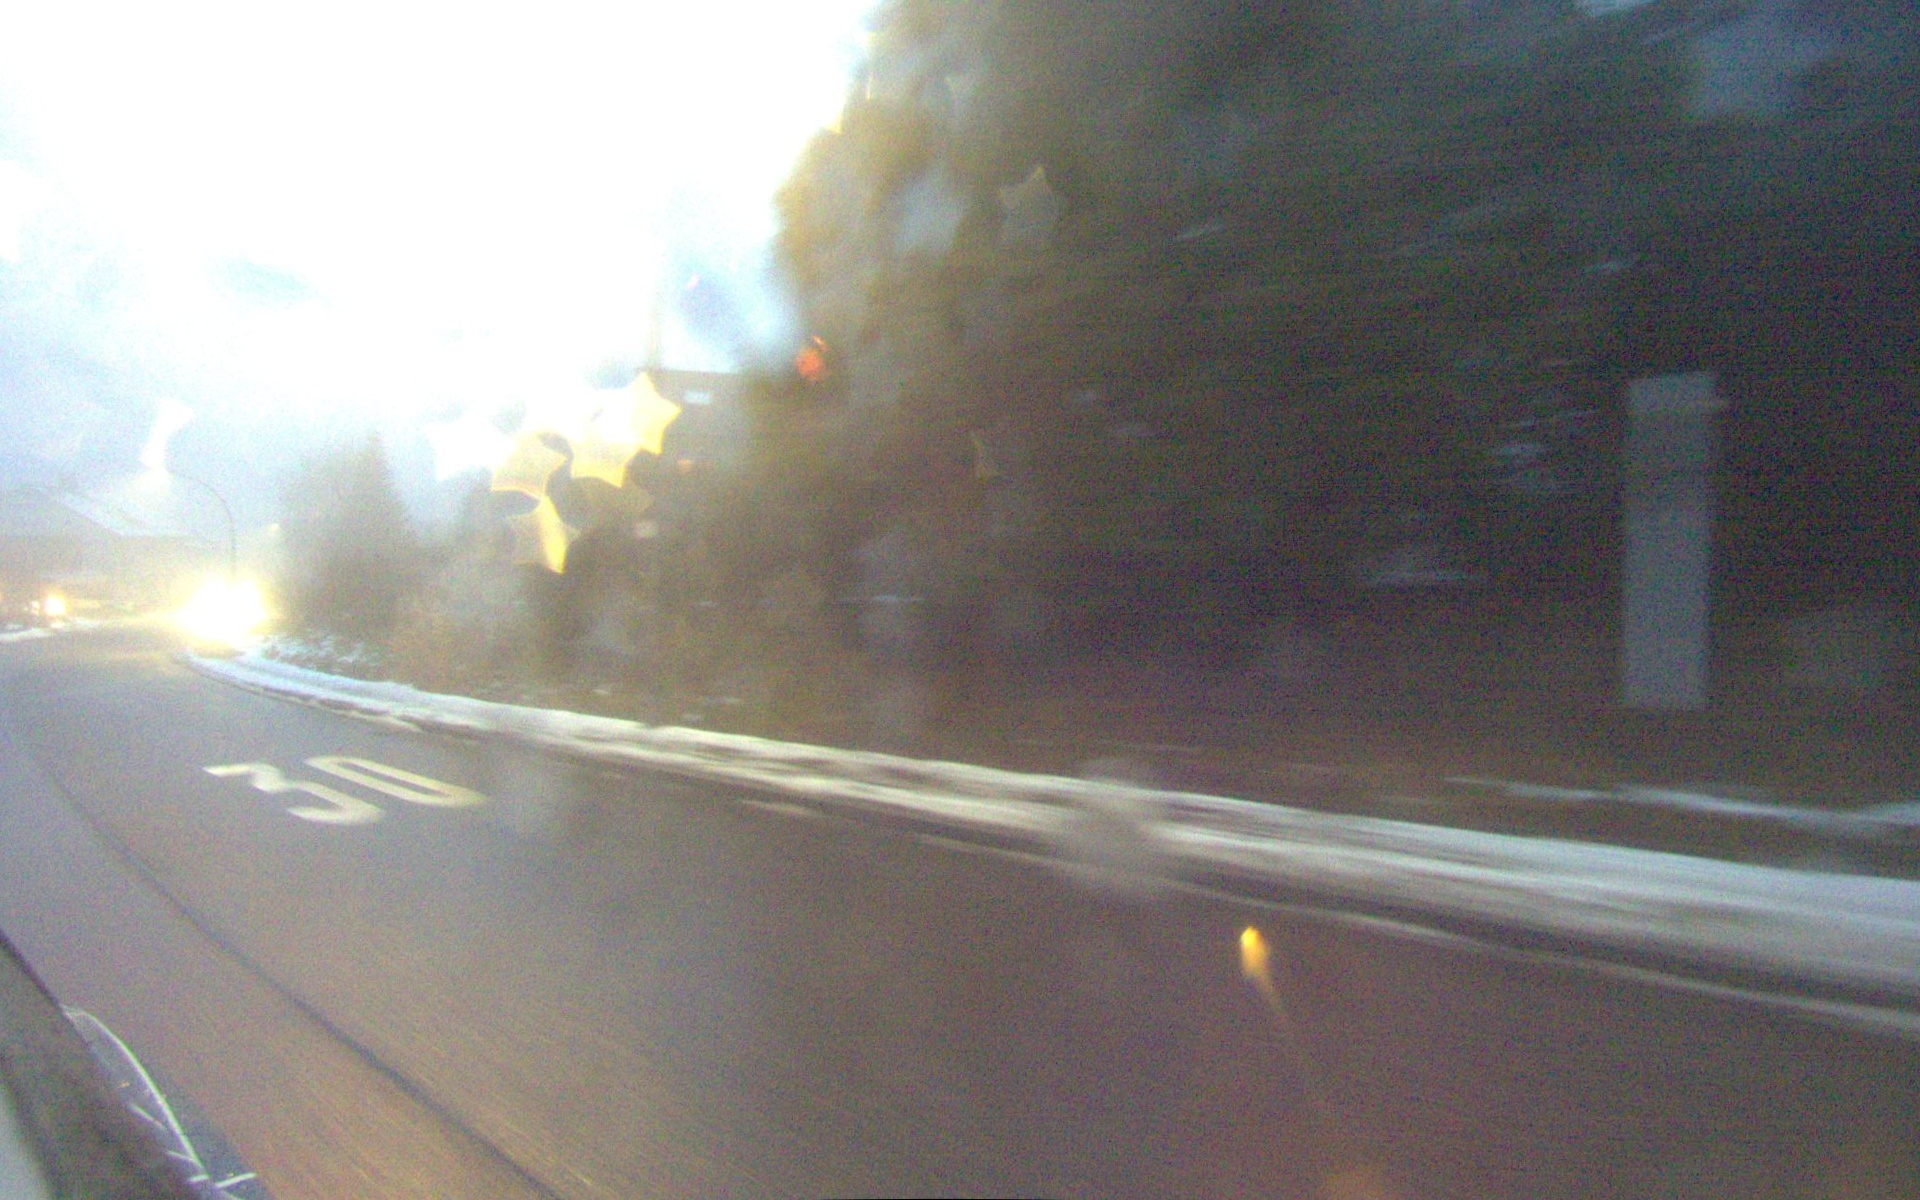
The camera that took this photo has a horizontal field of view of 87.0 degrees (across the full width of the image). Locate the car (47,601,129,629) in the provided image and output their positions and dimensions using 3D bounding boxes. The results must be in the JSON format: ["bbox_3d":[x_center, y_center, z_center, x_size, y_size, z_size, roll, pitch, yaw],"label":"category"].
[{"bbox_3d":[-64.738,1.123,75.212,4.148,1.872,1.917,2,0,-16],"label":"car"}]
